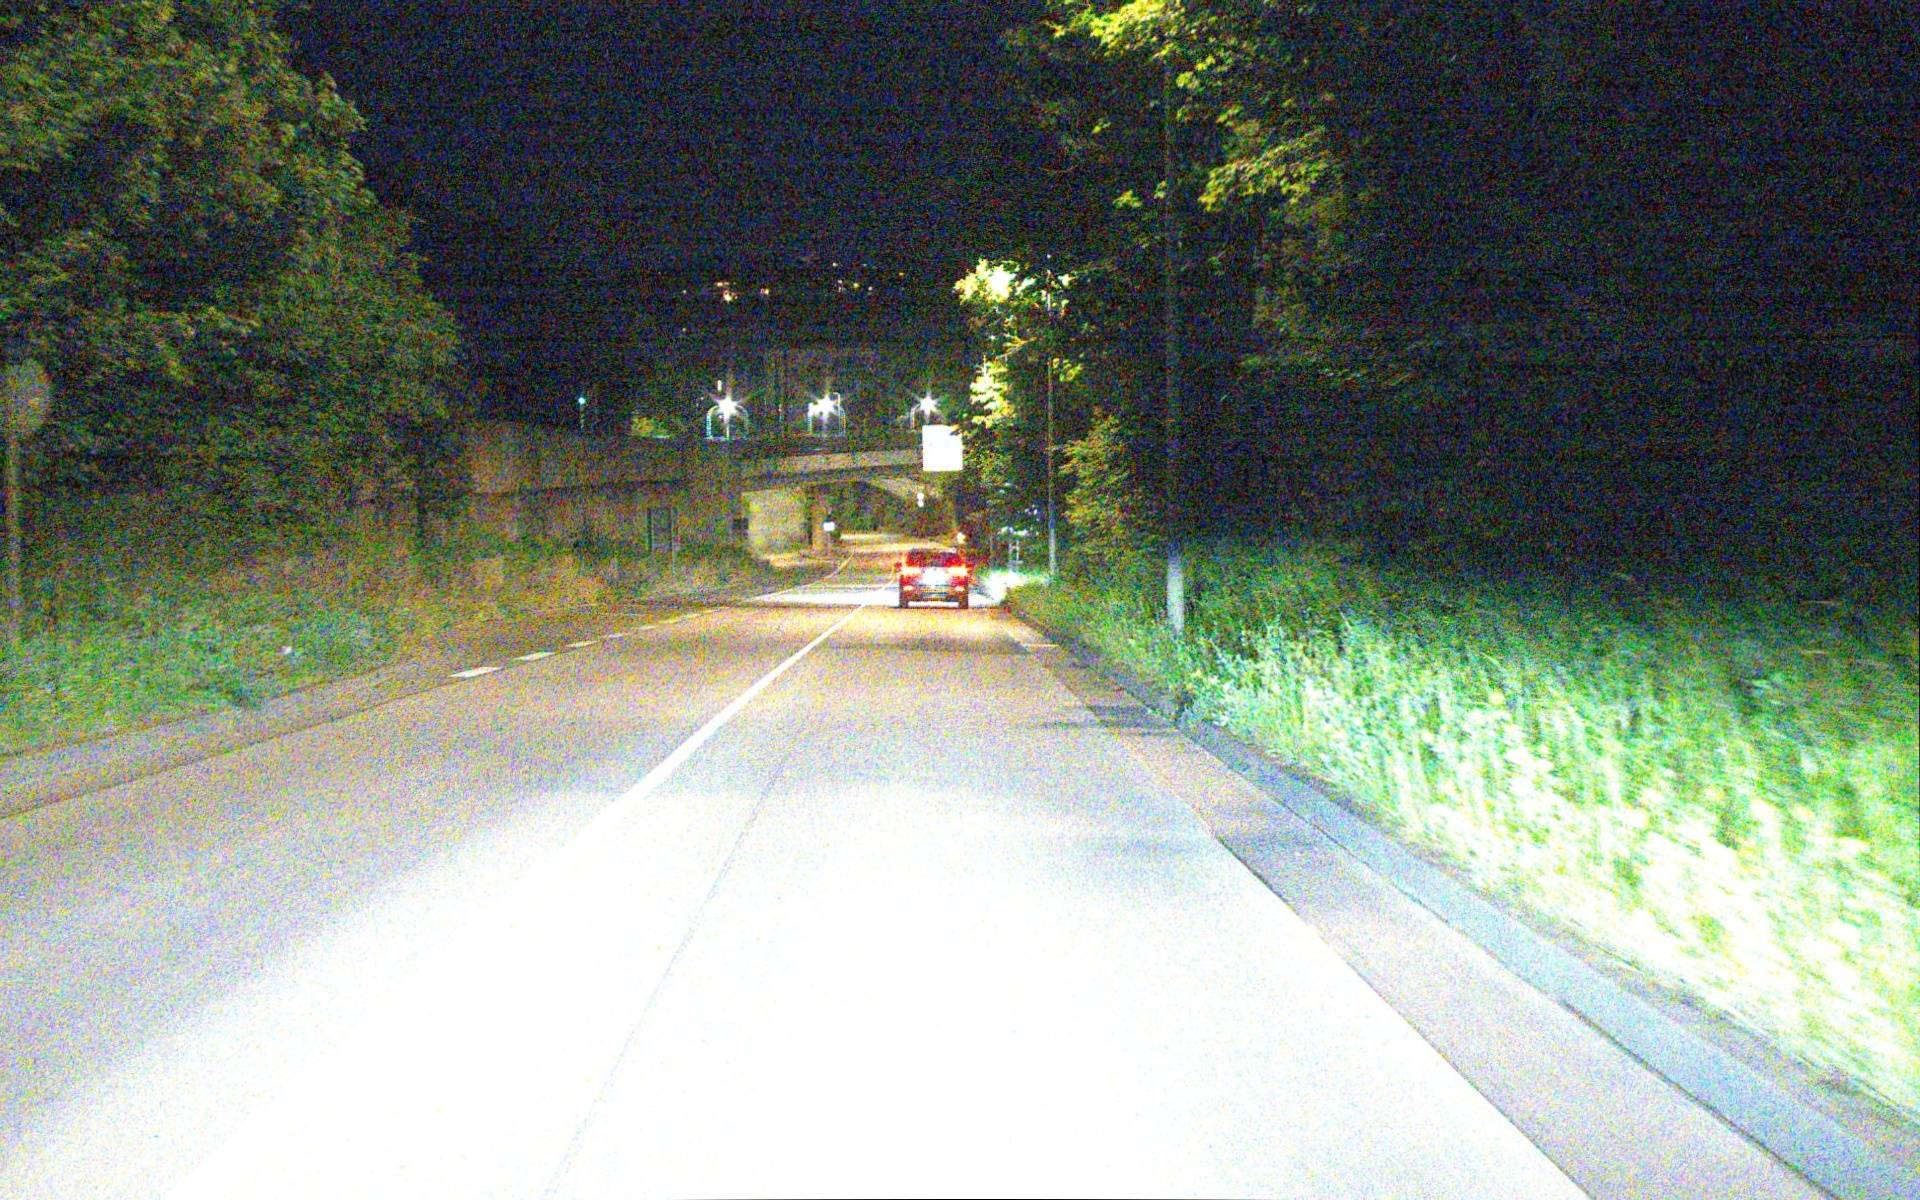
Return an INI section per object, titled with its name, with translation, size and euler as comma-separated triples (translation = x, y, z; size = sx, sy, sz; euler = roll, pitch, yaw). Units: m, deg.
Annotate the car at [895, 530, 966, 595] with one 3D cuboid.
[car]
translation = -0.747, -0.991, 89.651
size = 1.763, 1.636, 3.723
euler = 0, 2, 1
